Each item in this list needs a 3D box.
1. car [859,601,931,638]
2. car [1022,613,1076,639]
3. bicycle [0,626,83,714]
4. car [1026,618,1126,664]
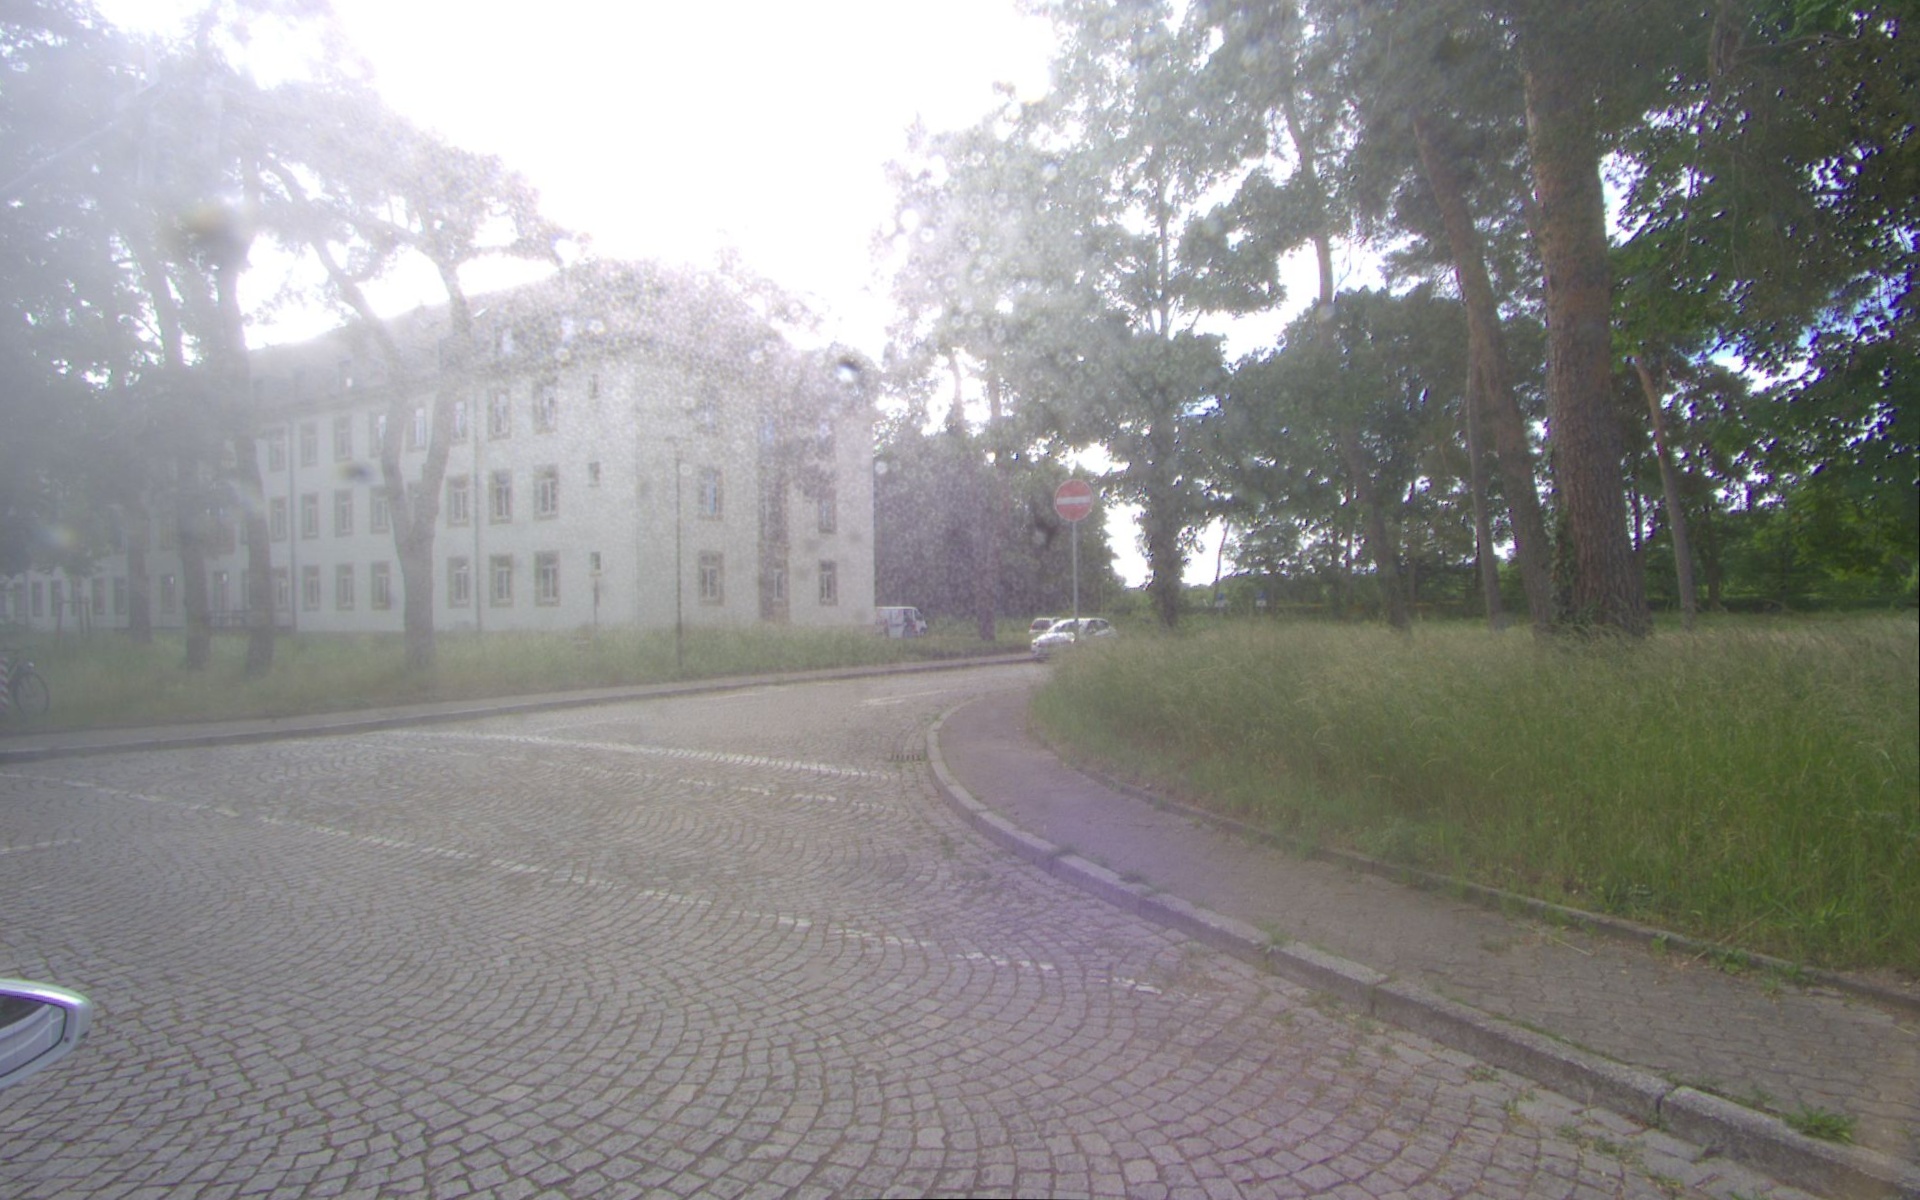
[{"bbox_3d":[-4.157,1.283,65.438,2.180,2.318,5.173,-1,-1,30],"label":"car"},{"bbox_3d":[5.448,1.534,60.843,1.970,1.527,3.477,-1,-1,30],"label":"car"},{"bbox_3d":[-13.723,0.979,14.543,1.845,1.192,0.908,-1,0,29],"label":"bicycle"},{"bbox_3d":[4.039,1.359,34.288,1.860,1.434,4.237,-1,-1,31],"label":"car"}]
